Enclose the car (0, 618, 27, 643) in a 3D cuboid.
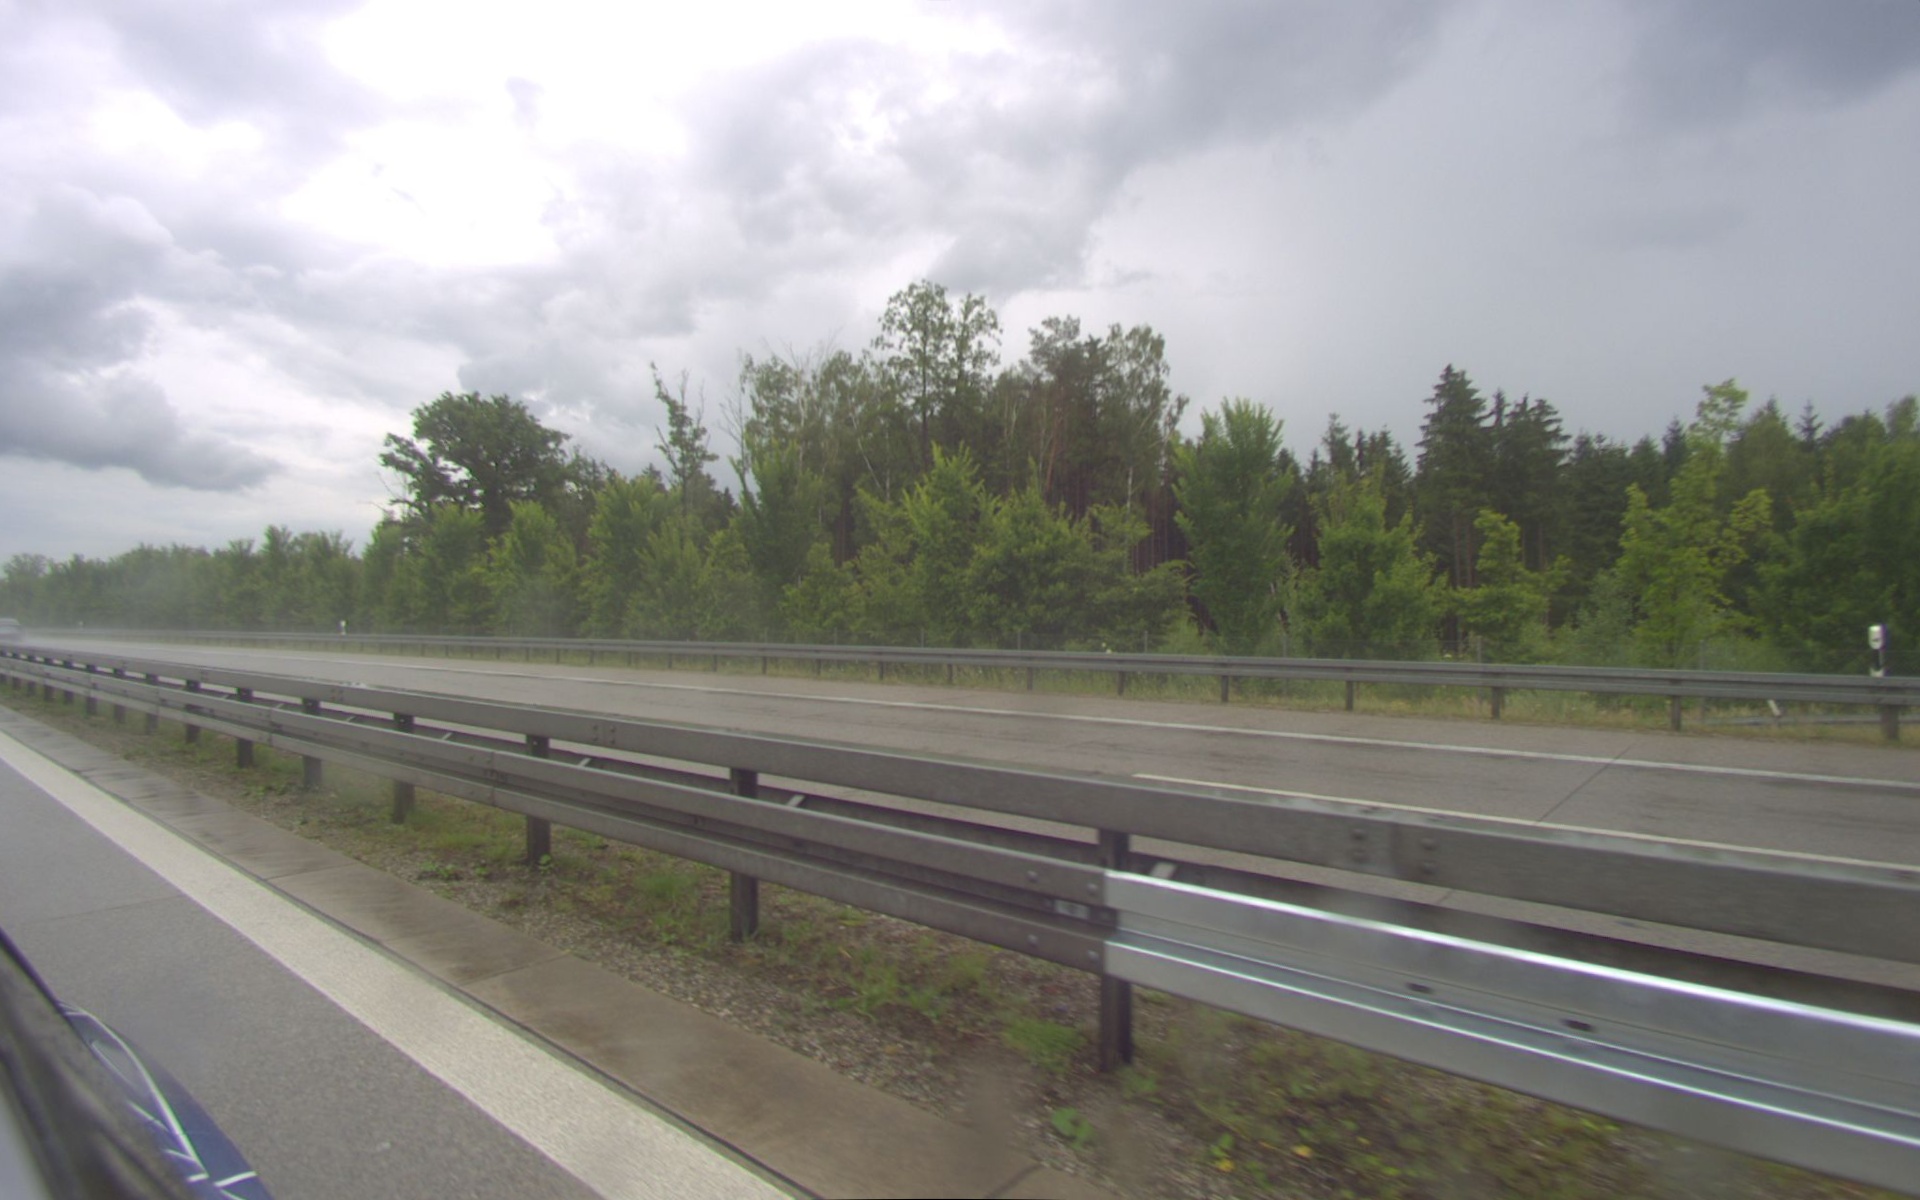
[{"bbox_3d":[-64.631,2.059,68.235,3.996,1.594,1.974,-1,-1,39],"label":"car"}]
